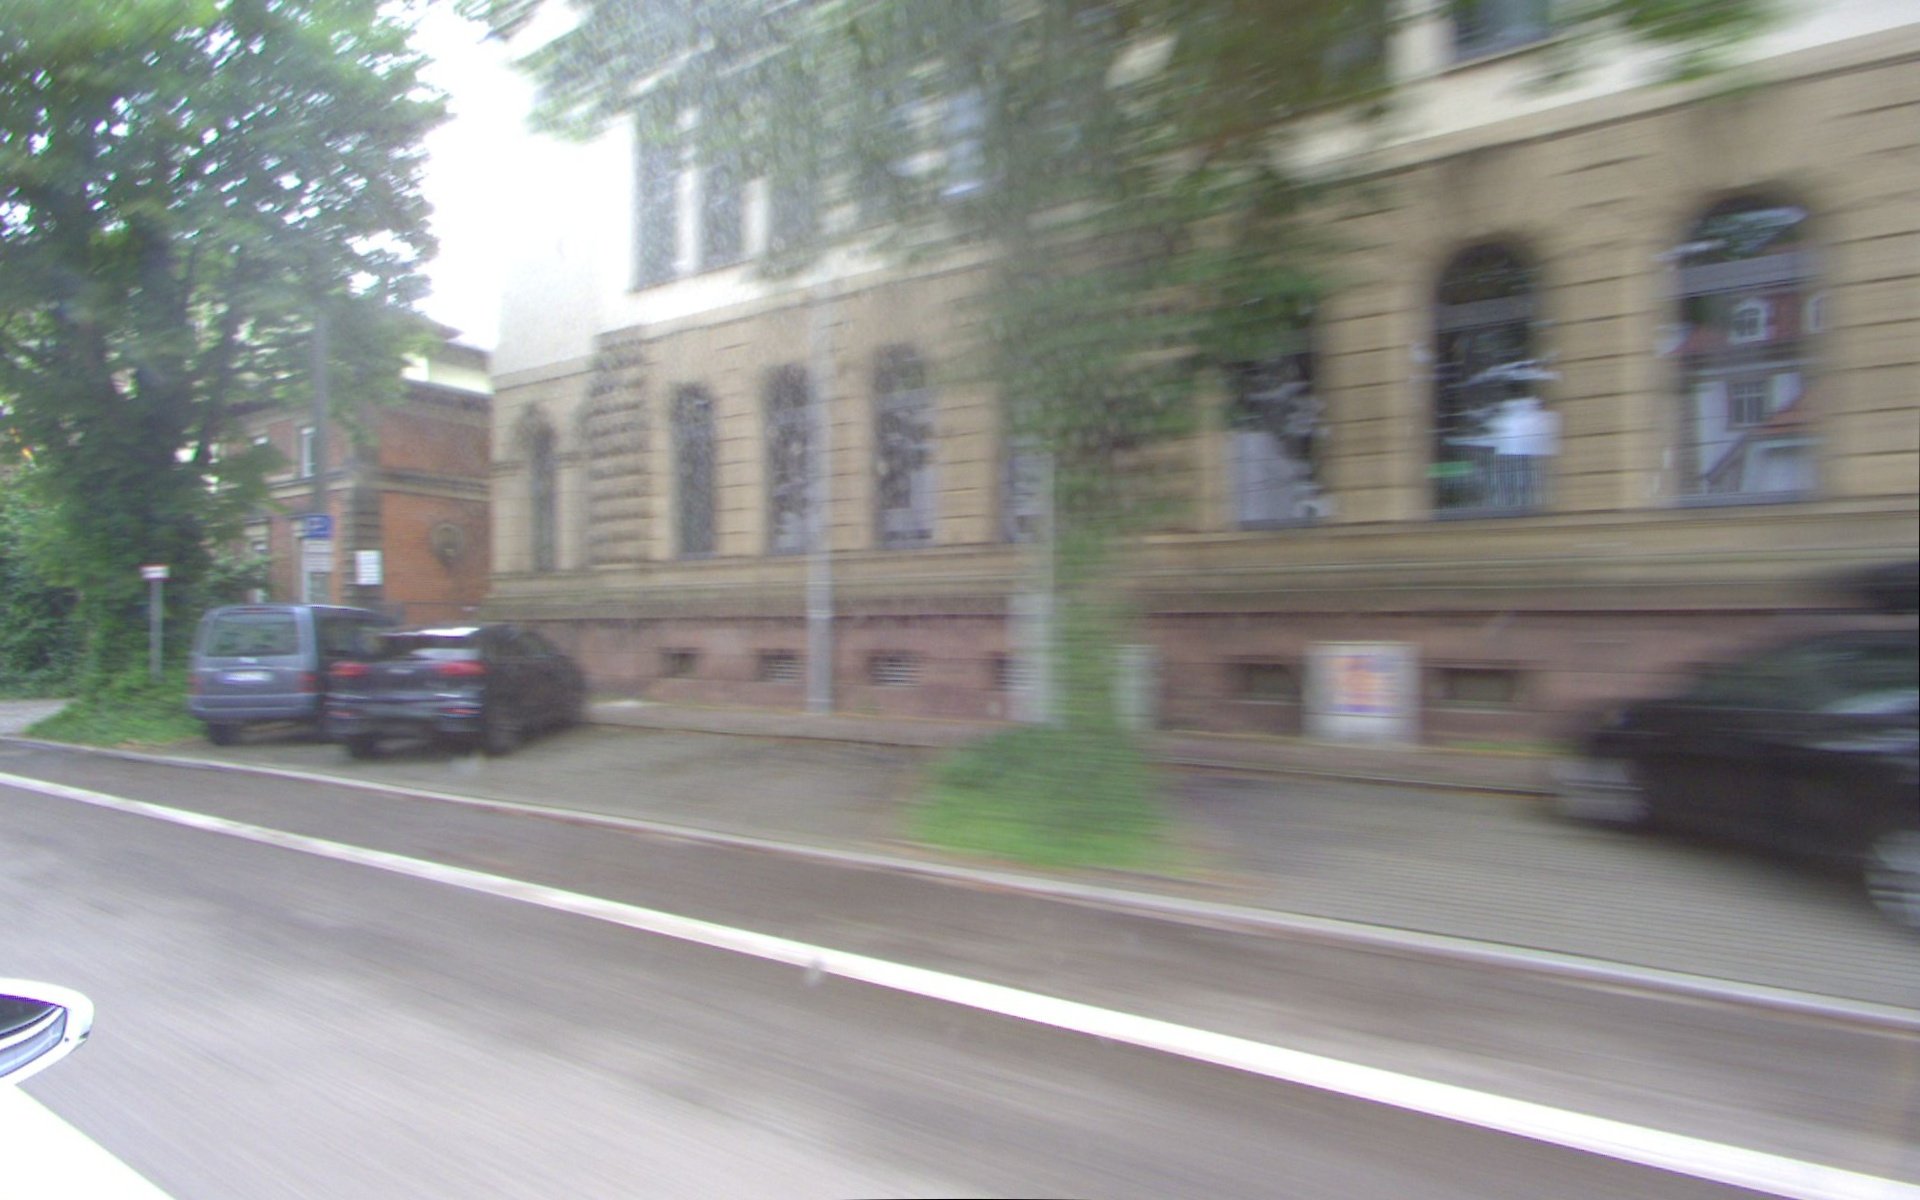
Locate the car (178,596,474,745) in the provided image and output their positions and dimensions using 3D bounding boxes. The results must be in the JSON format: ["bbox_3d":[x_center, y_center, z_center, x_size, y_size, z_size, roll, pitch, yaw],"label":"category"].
[{"bbox_3d":[-8.842,0.902,14.409,1.772,1.844,3.840,0,-1,1],"label":"car"}]

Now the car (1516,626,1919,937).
[{"bbox_3d":[5.310,0.879,5.813,1.720,1.420,4.332,0,-1,-1],"label":"car"}]

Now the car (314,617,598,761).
[{"bbox_3d":[-6.283,1.012,13.056,1.828,1.559,4.000,0,0,-3],"label":"car"}]
